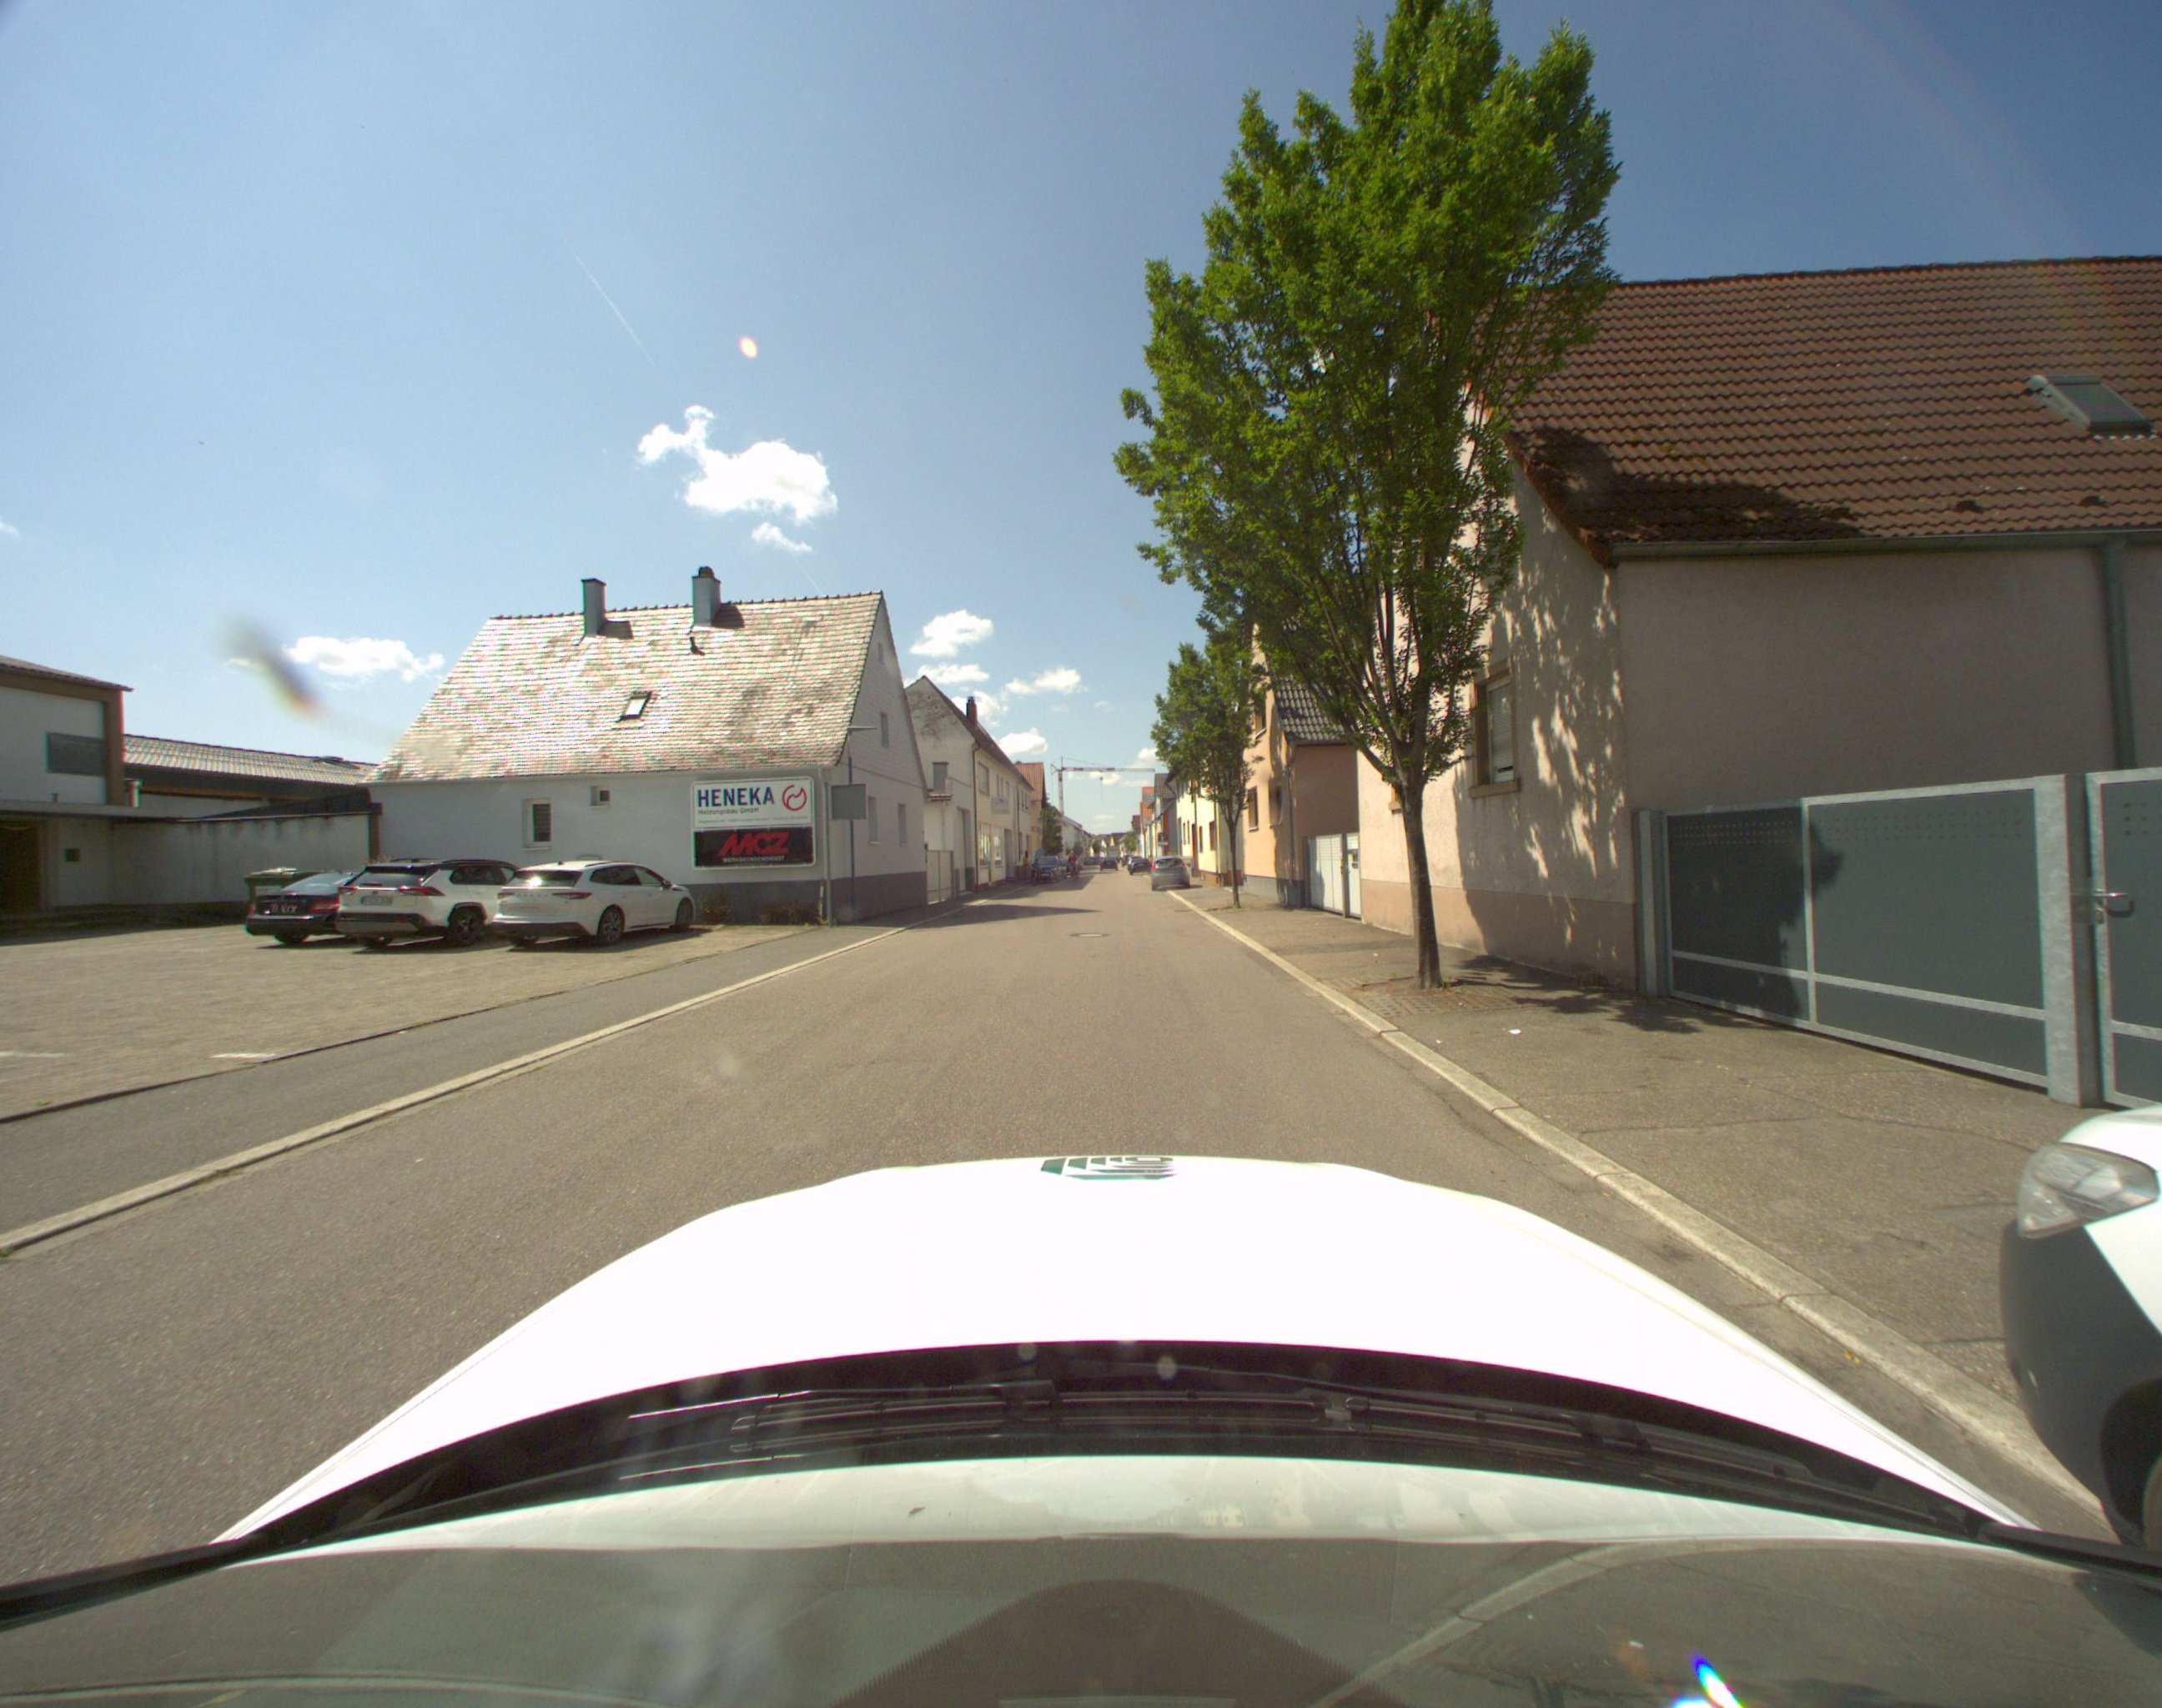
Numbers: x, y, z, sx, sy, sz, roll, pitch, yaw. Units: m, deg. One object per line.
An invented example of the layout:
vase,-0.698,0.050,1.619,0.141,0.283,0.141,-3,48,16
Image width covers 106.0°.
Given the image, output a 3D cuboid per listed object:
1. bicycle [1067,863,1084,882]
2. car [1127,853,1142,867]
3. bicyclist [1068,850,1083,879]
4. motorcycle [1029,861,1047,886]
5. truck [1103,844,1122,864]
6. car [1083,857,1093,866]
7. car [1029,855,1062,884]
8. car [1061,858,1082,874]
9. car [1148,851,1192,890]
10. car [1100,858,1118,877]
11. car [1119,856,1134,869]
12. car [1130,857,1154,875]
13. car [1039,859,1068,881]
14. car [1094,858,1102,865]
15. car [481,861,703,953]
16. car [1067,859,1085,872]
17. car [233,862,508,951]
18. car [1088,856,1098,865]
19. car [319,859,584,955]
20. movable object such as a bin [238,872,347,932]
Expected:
bicycle,-0.313,1.102,48.056,0.739,1.047,1.943,-2,0,5
car,6.609,0.716,101.296,1.611,1.495,3.973,-5,0,2
bicyclist,-0.323,0.617,48.116,0.743,1.637,0.958,-2,0,5
motorcycle,-2.433,1.098,46.384,0.805,1.312,2.106,-2,0,2
truck,6.555,0.011,170.883,3.367,3.865,13.927,-3,-1,1
car,1.245,1.267,145.910,1.752,1.525,4.290,-3,0,2
car,-2.201,0.927,50.930,1.711,1.639,4.149,-4,0,1
car,-0.826,1.077,75.474,1.755,1.374,4.068,-1,0,2
car,3.945,0.698,36.302,1.713,1.481,3.756,-6,0,6
car,2.851,1.355,83.834,1.776,1.753,4.001,-3,-1,1
car,6.347,1.171,113.827,1.723,1.717,4.275,-2,0,0
car,4.817,0.910,64.602,1.808,1.276,4.149,-2,0,3
car,-1.932,1.092,58.013,1.691,1.411,4.392,-2,0,2
car,4.017,1.730,192.363,1.716,1.555,4.175,-1,0,3
car,-9.711,0.958,16.682,1.768,1.570,4.479,-1,0,0
car,-0.582,1.378,96.597,1.760,1.460,4.441,-2,0,4
car,-14.618,0.987,17.185,1.767,1.570,4.480,-1,0,1
car,2.288,1.209,153.192,1.647,1.609,4.062,-3,0,2
car,-12.354,0.944,16.452,1.767,1.619,4.480,-1,0,1
movable object such as a bin,-18.613,1.116,19.268,1.382,1.300,1.212,-1,0,3
